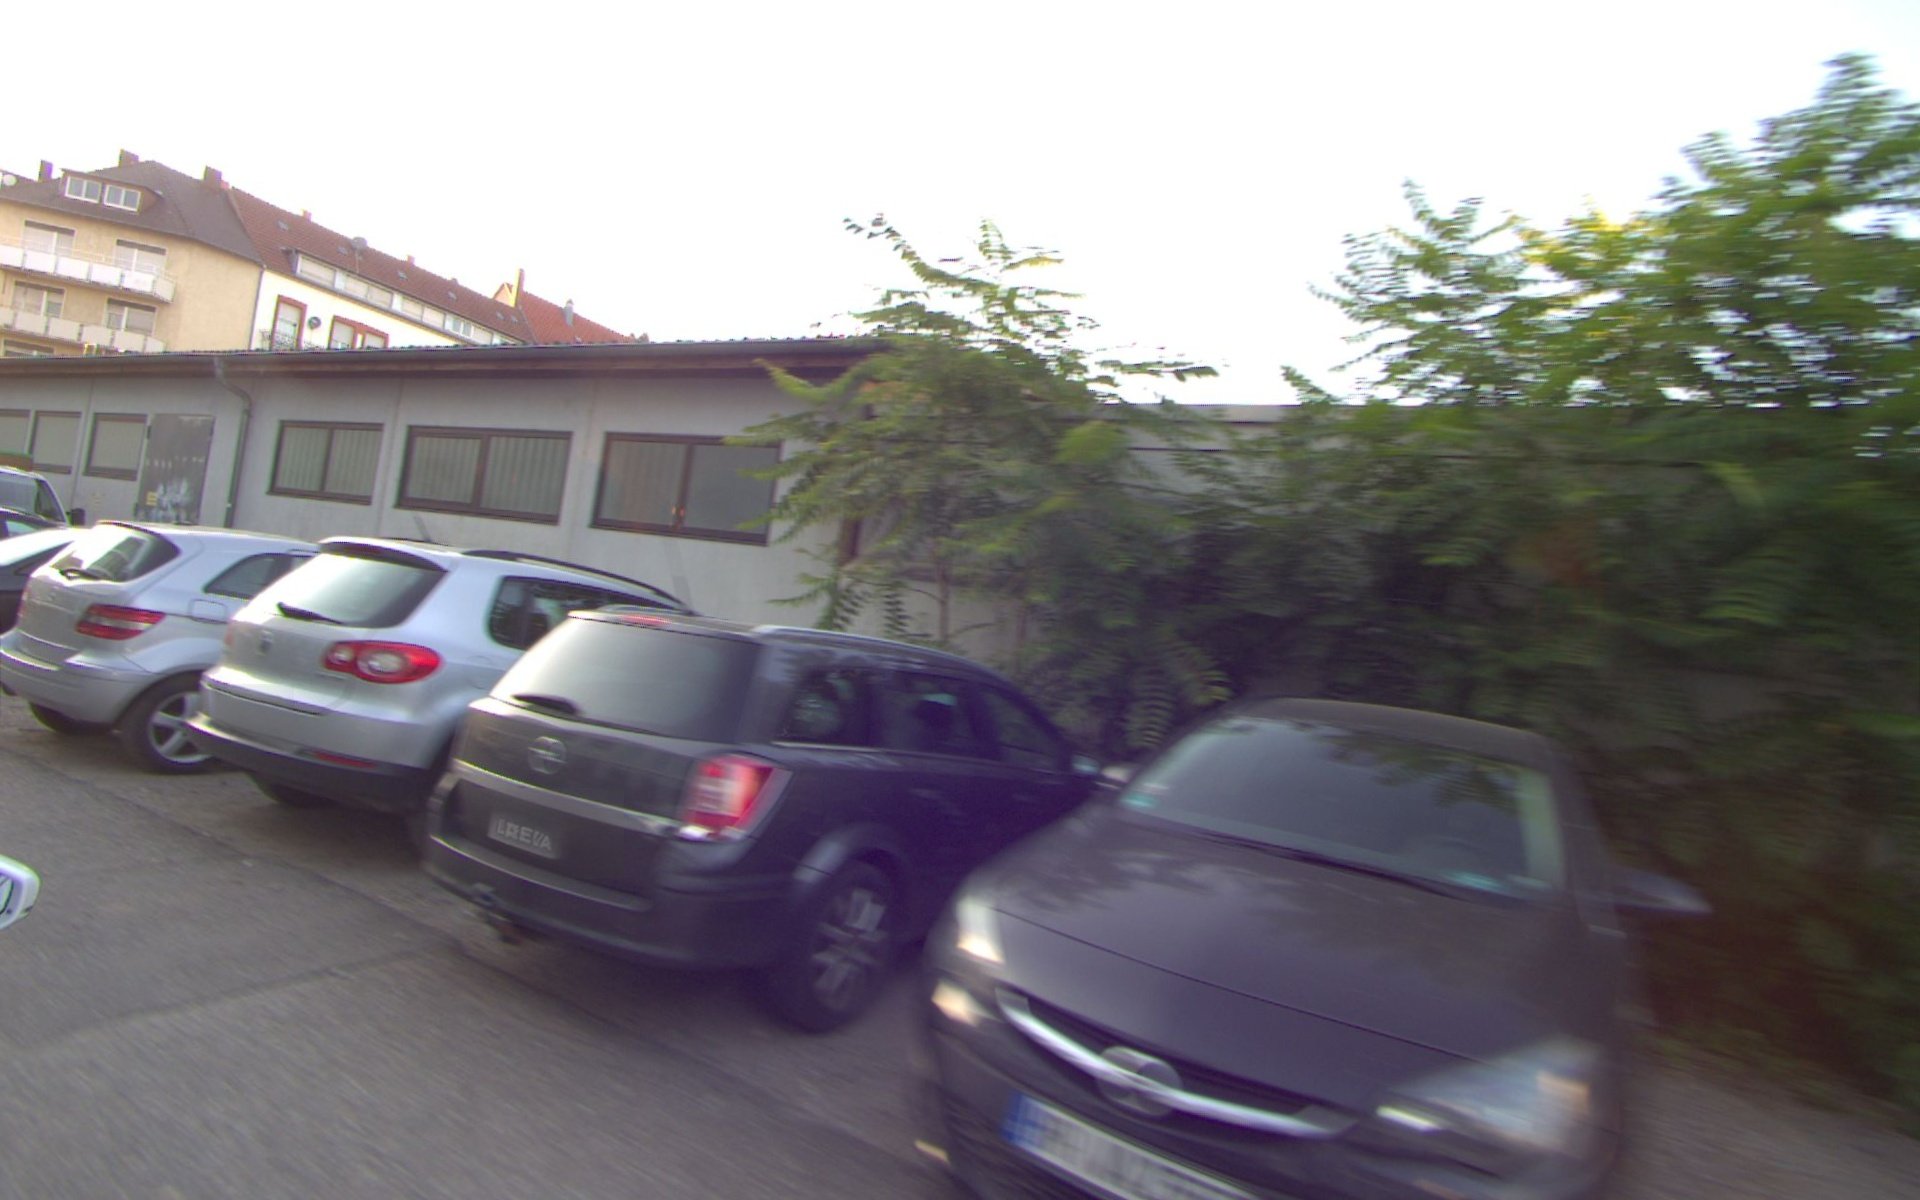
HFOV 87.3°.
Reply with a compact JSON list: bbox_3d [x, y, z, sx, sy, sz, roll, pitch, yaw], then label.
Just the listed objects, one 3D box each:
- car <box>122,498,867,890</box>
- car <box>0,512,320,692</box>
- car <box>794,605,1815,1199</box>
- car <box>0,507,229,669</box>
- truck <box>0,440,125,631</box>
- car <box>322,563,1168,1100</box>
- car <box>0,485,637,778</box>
[{"bbox_3d":[-2.557,0.631,6.609,1.795,1.636,3.999,7,-4,28],"label":"car"},{"bbox_3d":[-9.062,-0.026,10.221,1.814,1.459,3.772,6,-5,31],"label":"car"},{"bbox_3d":[1.576,1.134,3.790,1.860,1.518,4.213,5,-5,33],"label":"car"},{"bbox_3d":[-11.051,-0.274,11.529,1.860,1.552,3.769,8,-4,33],"label":"car"},{"bbox_3d":[-14.134,-1.089,13.912,5.617,2.225,2.103,6,-3,32],"label":"truck"},{"bbox_3d":[-0.572,0.929,5.107,1.797,1.460,3.995,6,-5,32],"label":"car"},{"bbox_3d":[-4.865,0.390,7.938,1.906,1.626,3.997,7,-4,31],"label":"car"}]
